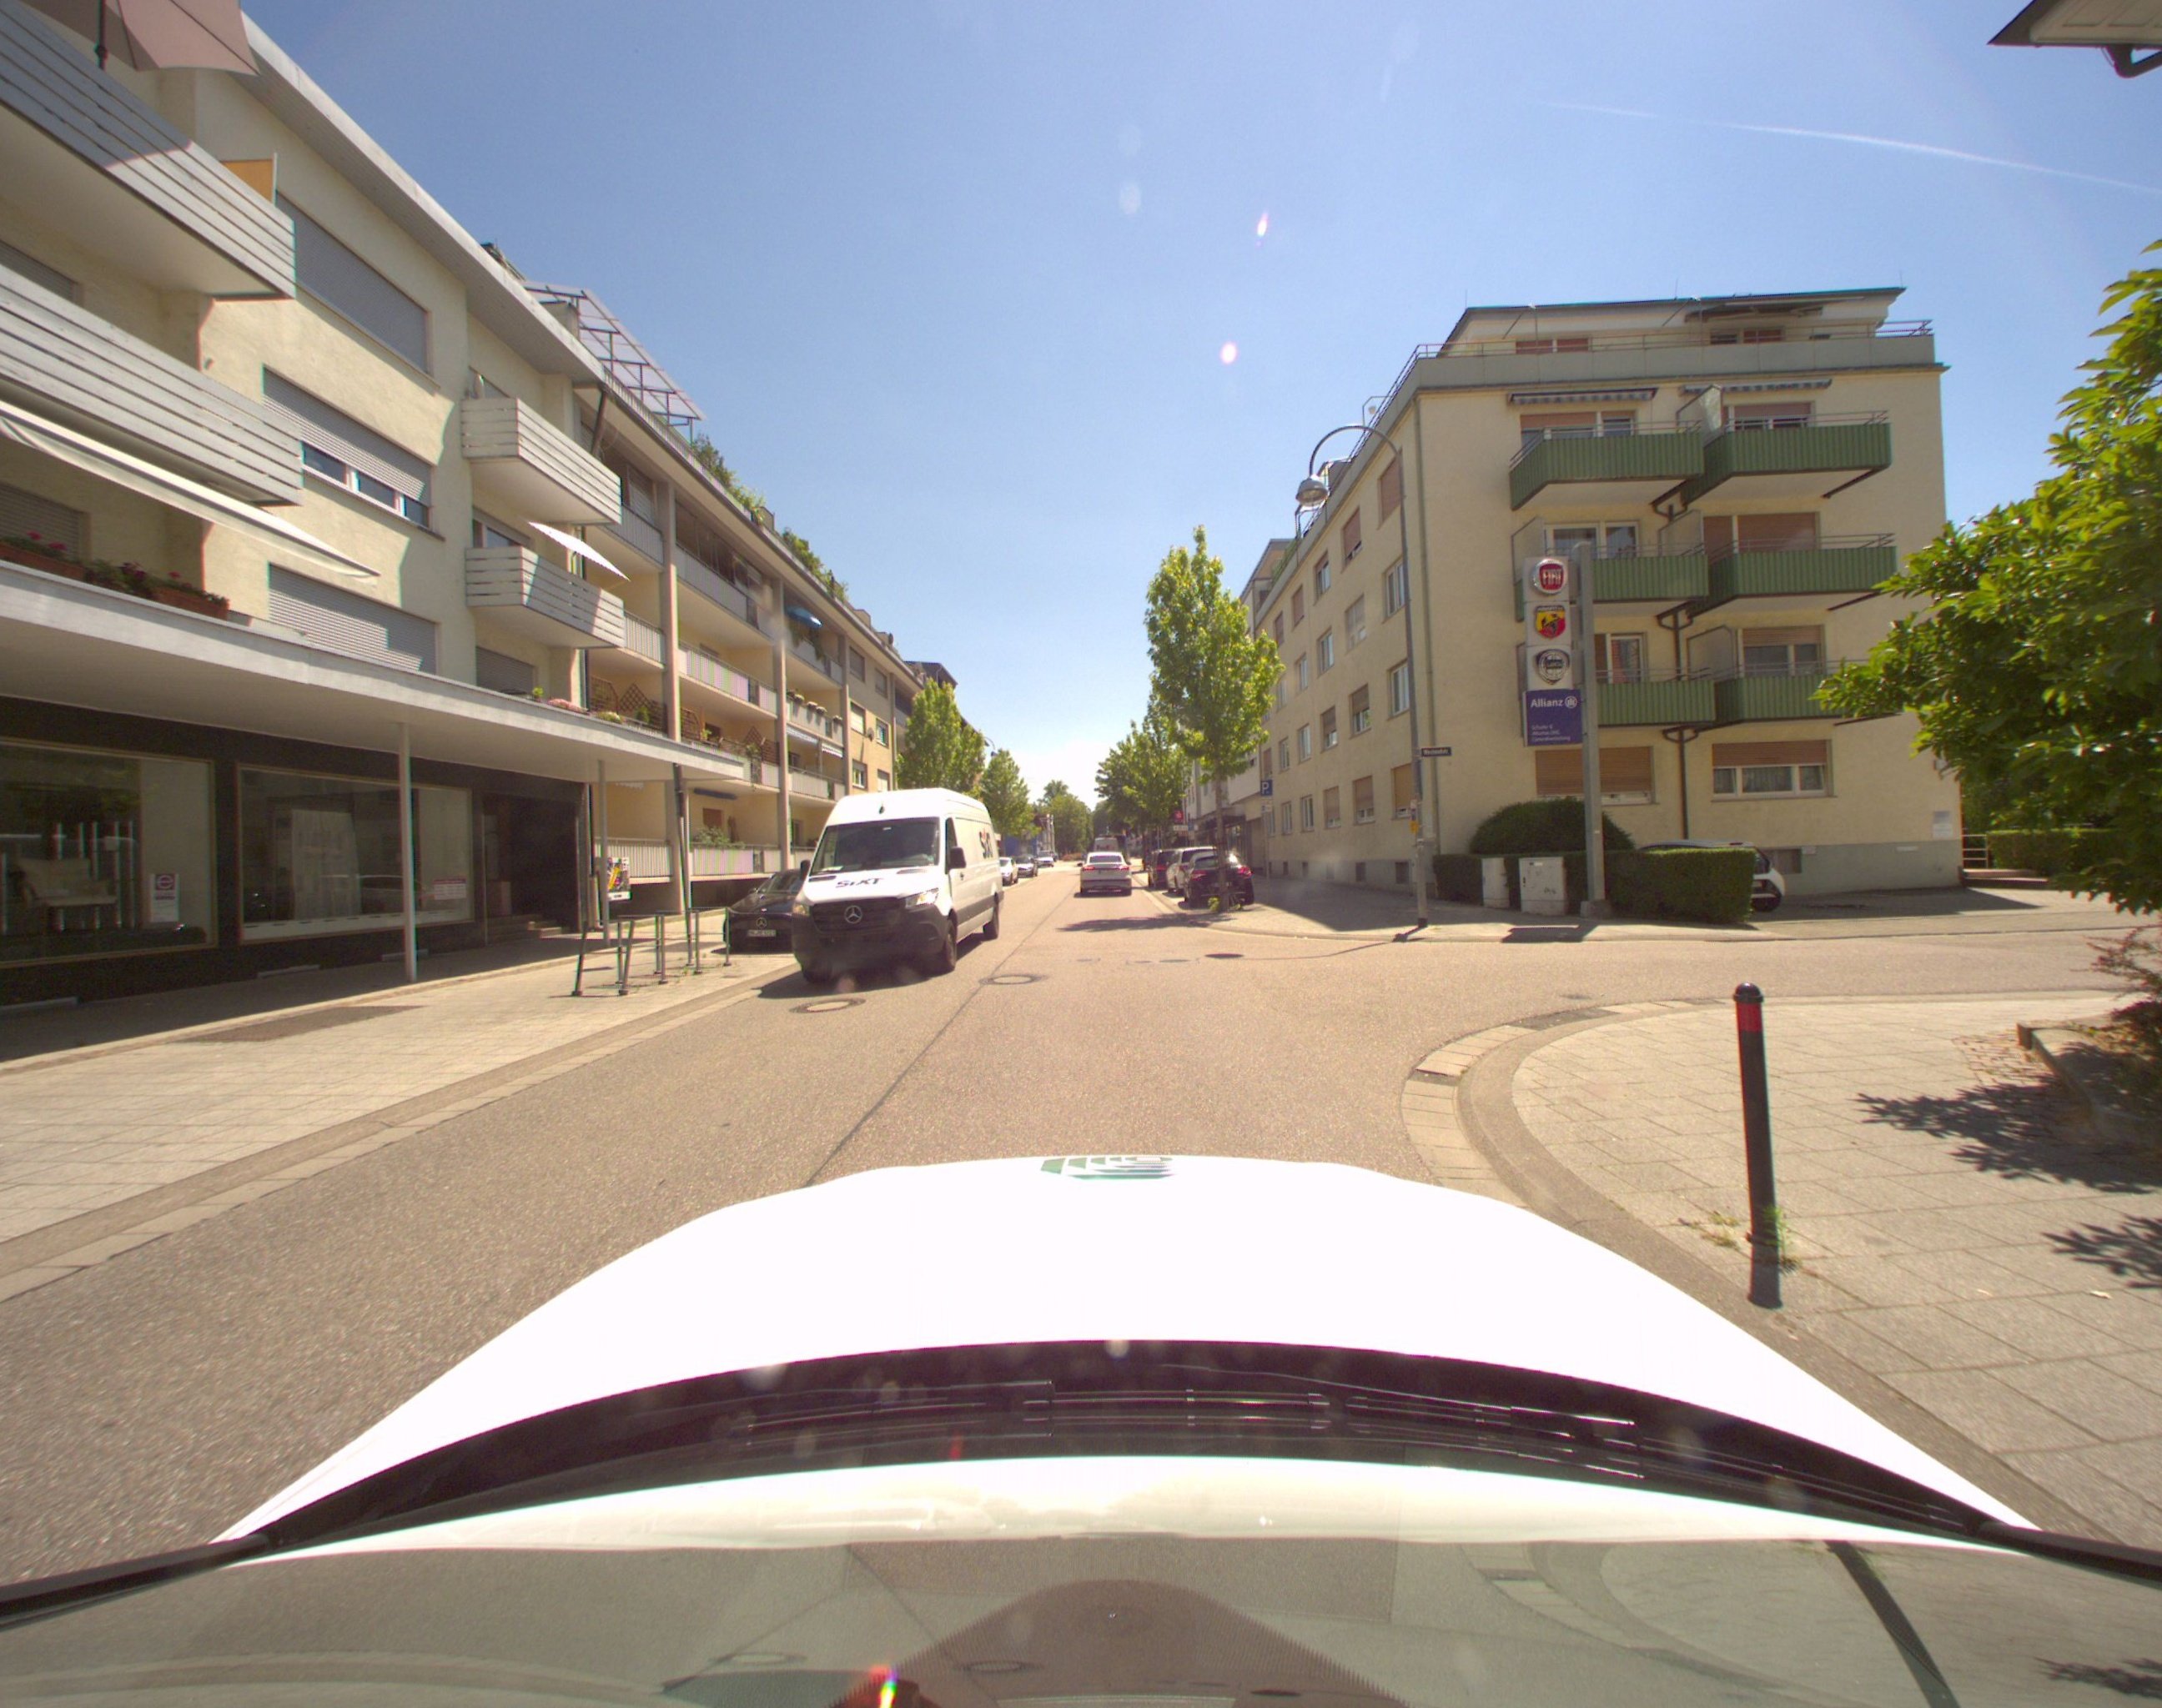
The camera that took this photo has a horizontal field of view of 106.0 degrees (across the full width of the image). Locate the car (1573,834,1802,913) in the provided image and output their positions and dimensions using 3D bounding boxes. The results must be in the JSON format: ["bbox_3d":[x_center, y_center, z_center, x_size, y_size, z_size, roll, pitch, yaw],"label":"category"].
[{"bbox_3d":[12.657,0.372,17.346,1.833,1.417,3.850,-2,0,-4],"label":"car"}]

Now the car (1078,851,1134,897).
[{"bbox_3d":[0.907,0.735,31.350,1.987,1.633,4.000,-1,0,0],"label":"car"}]

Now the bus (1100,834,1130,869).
[{"bbox_3d":[3.336,-0.223,77.643,2.649,3.221,7.309,0,0,4],"label":"bus"}]

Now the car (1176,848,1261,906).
[{"bbox_3d":[3.874,0.596,23.619,1.888,1.438,4.548,-2,0,3],"label":"car"}]

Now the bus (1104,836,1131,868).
[{"bbox_3d":[3.875,-0.140,84.973,2.649,3.210,7.459,0,0,4],"label":"bus"}]

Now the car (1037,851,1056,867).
[{"bbox_3d":[-3.864,0.556,91.676,1.849,1.692,4.151,-3,0,1],"label":"car"}]

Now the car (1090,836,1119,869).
[{"bbox_3d":[1.813,-0.109,63.085,2.148,2.442,5.285,0,0,2],"label":"car"}]

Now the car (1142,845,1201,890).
[{"bbox_3d":[3.819,0.545,35.111,1.850,1.674,4.535,-4,0,-1],"label":"car"}]

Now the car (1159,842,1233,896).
[{"bbox_3d":[4.093,0.510,29.760,1.891,1.674,4.689,-4,0,-1],"label":"car"}]

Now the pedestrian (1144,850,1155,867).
[{"bbox_3d":[6.030,0.398,72.105,0.710,1.502,0.586,-3,0,33],"label":"pedestrian"}]

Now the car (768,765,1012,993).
[{"bbox_3d":[-2.617,0.303,13.429,2.029,2.630,7.109,-4,0,1],"label":"car"}]

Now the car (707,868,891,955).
[{"bbox_3d":[-5.462,1.041,16.589,1.889,1.417,5.048,0,0,1],"label":"car"}]

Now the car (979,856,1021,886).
[{"bbox_3d":[-4.569,0.907,46.375,1.745,1.618,4.404,0,0,3],"label":"car"}]

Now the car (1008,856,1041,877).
[{"bbox_3d":[-3.945,0.856,57.236,1.745,1.453,4.405,0,0,3],"label":"car"}]
